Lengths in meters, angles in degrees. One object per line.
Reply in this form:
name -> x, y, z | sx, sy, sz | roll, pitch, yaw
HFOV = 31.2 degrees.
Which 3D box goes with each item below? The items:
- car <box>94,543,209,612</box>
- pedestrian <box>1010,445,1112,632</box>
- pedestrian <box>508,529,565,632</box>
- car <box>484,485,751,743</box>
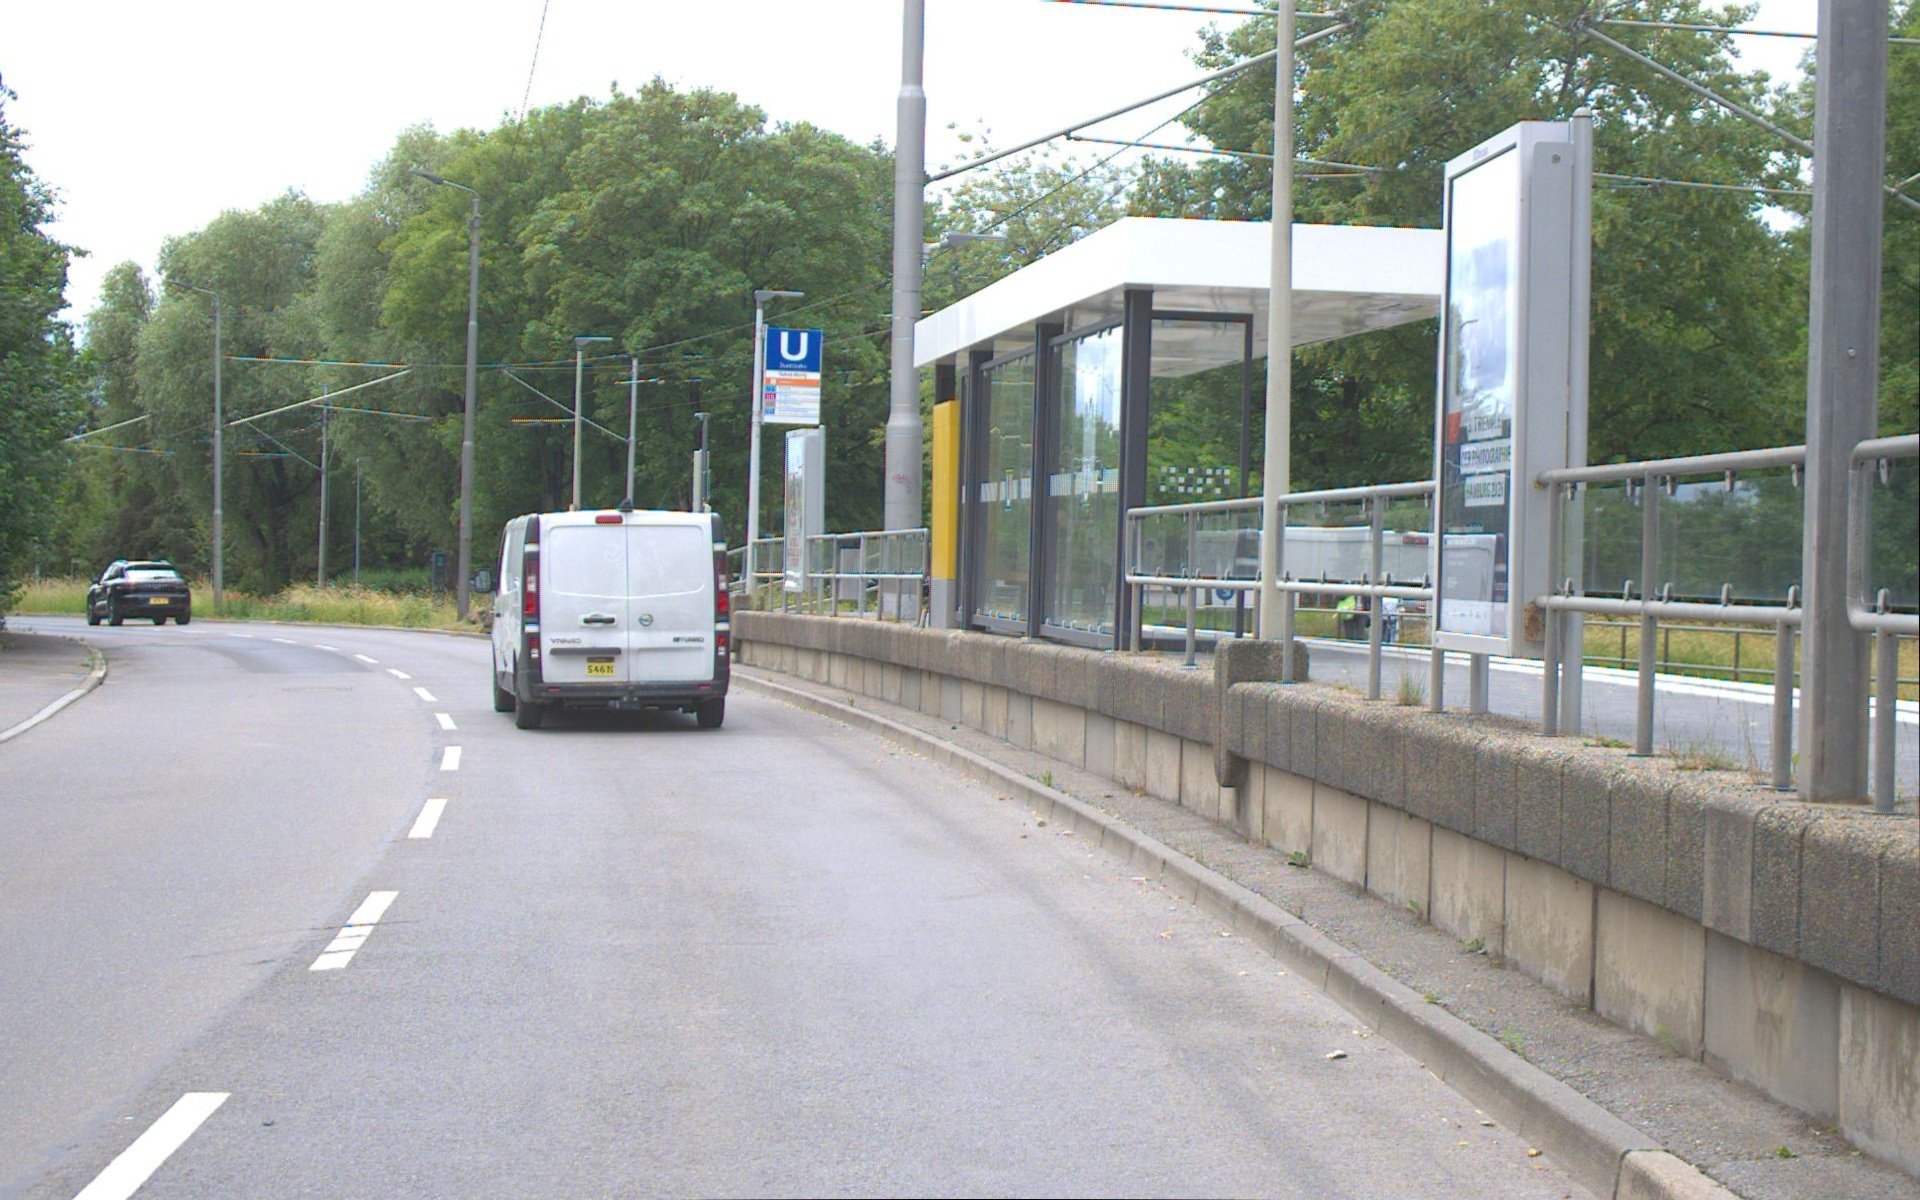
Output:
car -> -20.233, -0.573, 85.949 | 2.354, 1.559, 4.374 | 3, 0, -18
pedestrian -> 0.764, -0.478, 26.250 | 0.638, 1.399, 0.765 | 1, 2, -8
pedestrian -> -7.380, -0.338, 59.903 | 0.758, 1.789, 0.631 | 1, 1, -34
car -> -3.291, 0.077, 32.041 | 2.116, 2.127, 5.442 | 2, 1, -9
